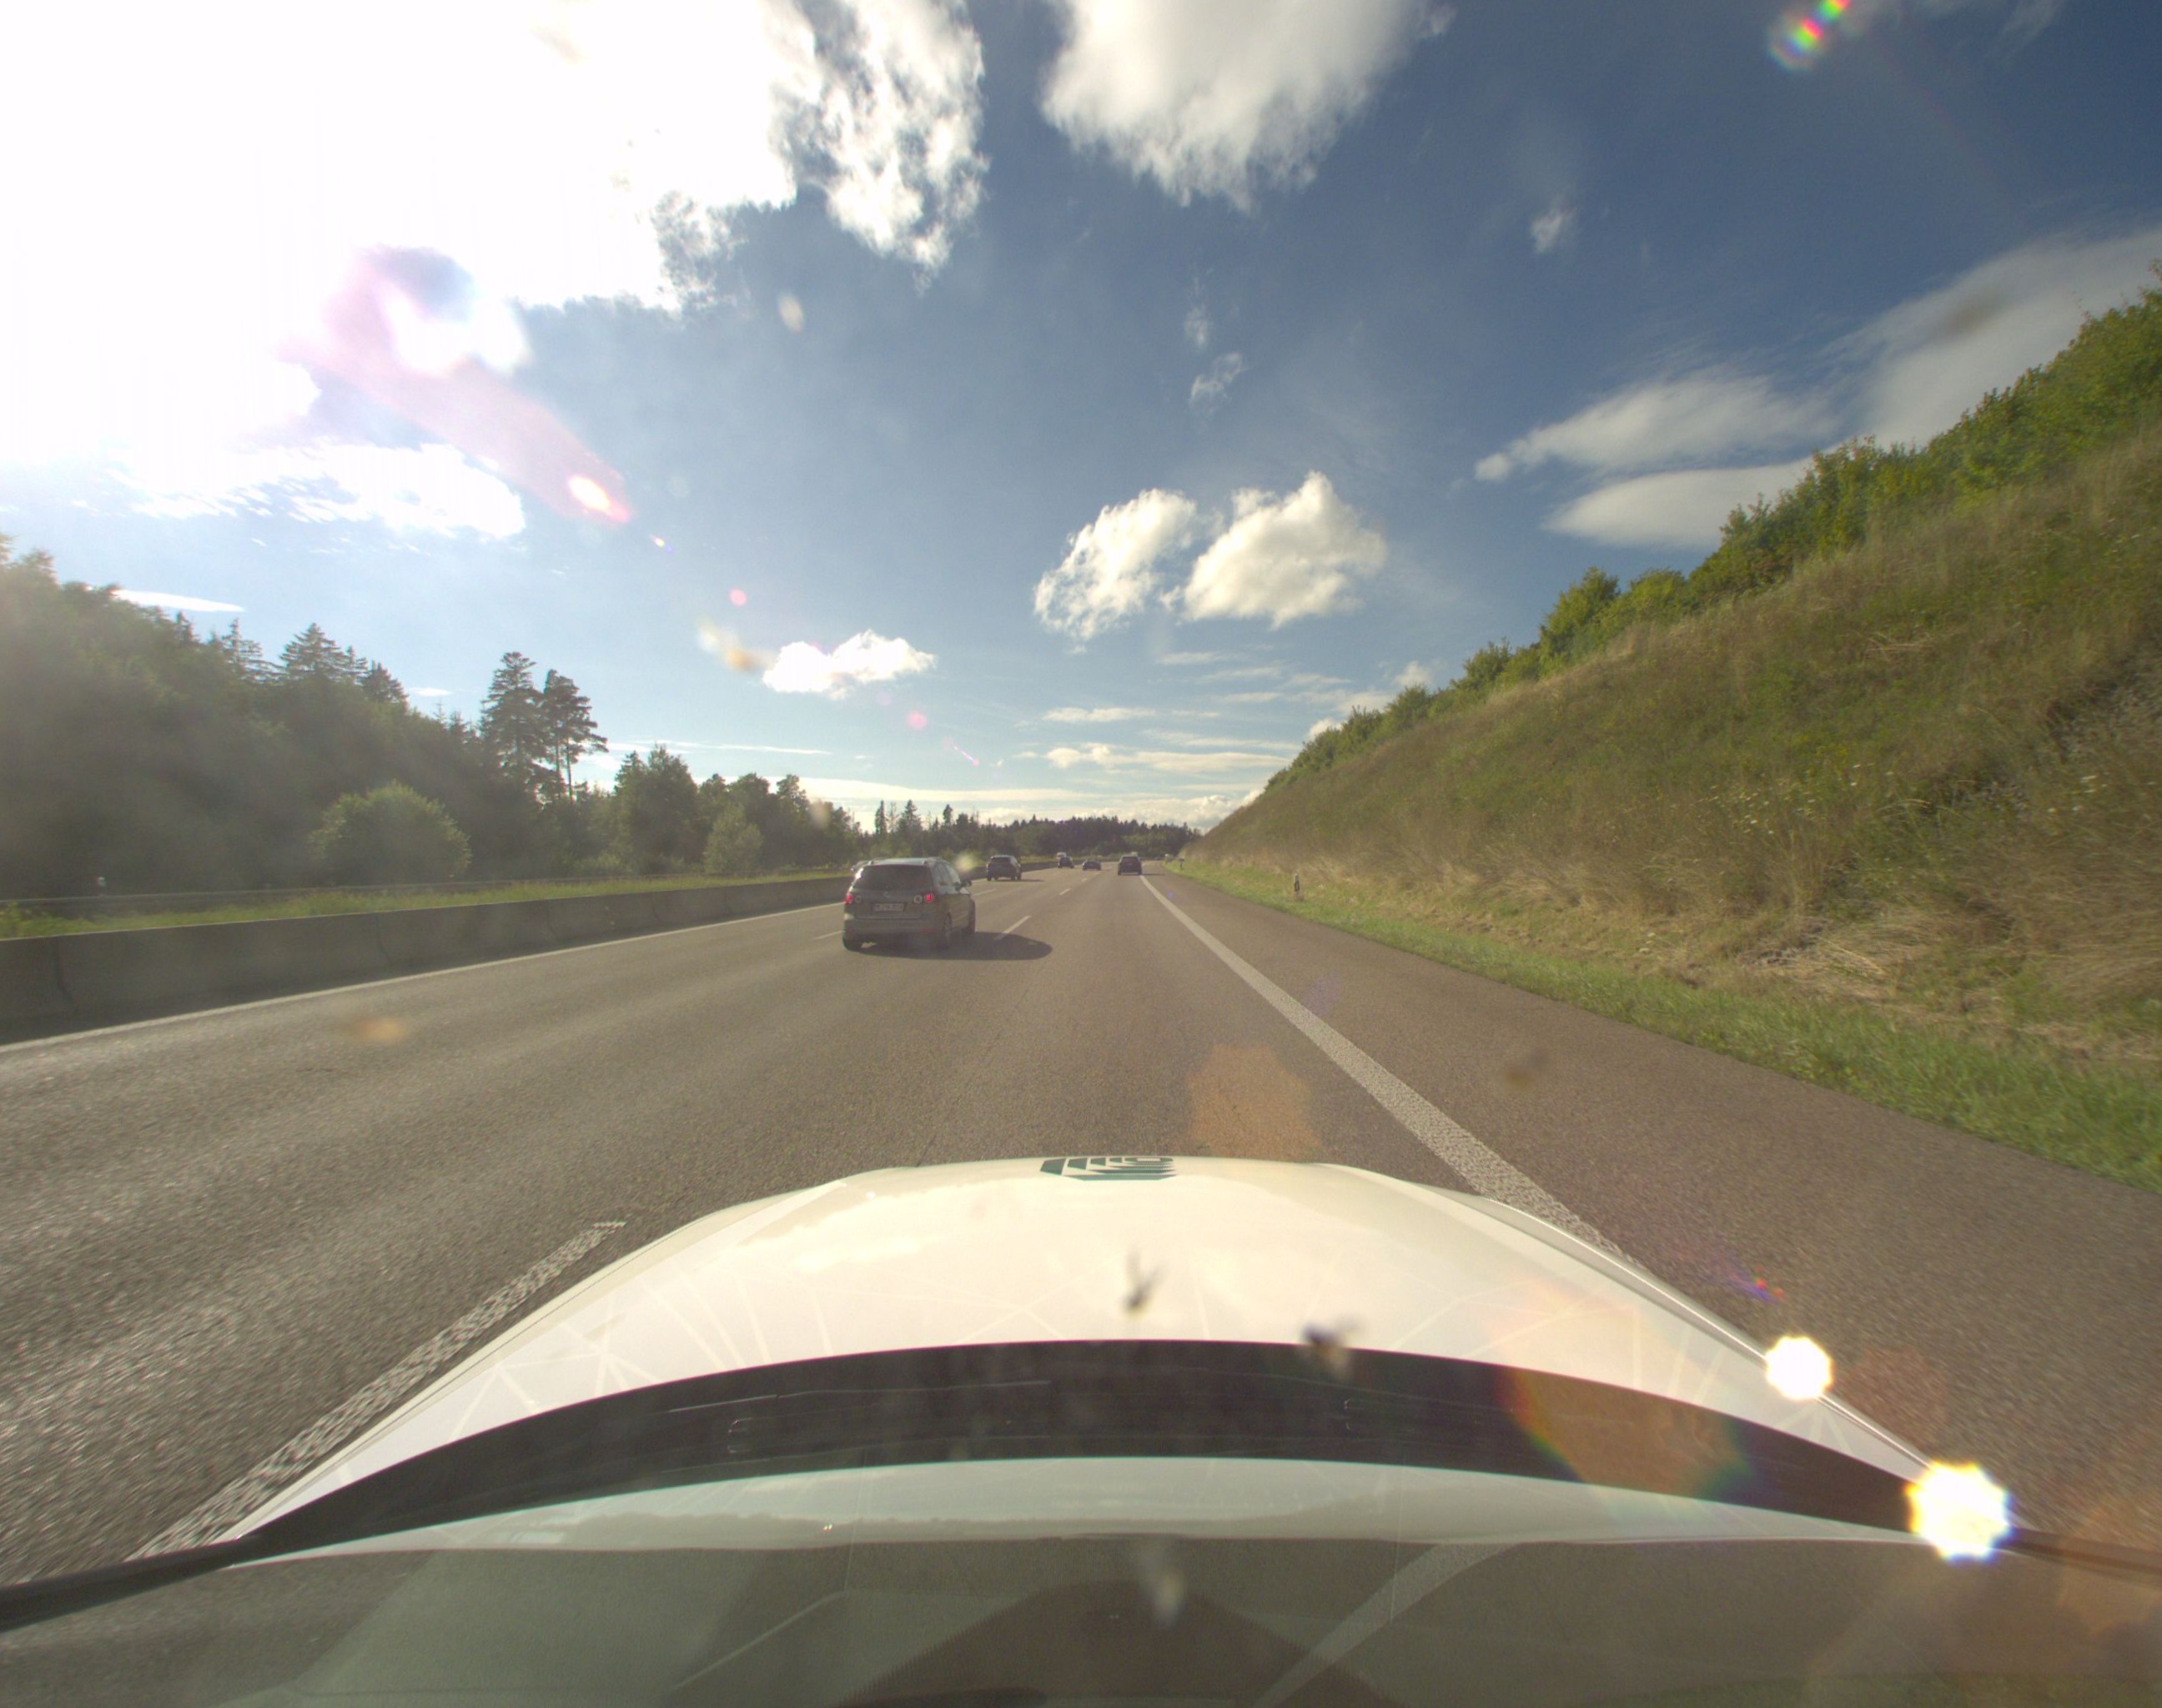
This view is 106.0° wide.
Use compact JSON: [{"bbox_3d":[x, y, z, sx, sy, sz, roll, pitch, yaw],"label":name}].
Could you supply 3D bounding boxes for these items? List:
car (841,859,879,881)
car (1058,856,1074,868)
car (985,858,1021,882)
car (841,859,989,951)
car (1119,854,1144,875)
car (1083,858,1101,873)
[{"bbox_3d":[-19.161,1.378,70.786,1.985,1.747,4.052,-1,0,3],"label":"car"},{"bbox_3d":[-1.921,0.975,103.560,1.866,1.497,3.881,-1,0,2],"label":"car"},{"bbox_3d":[-5.089,1.001,53.702,1.866,1.497,3.881,-1,0,2],"label":"car"},{"bbox_3d":[-2.981,0.857,15.448,1.866,1.497,3.881,-1,0,2],"label":"car"},{"bbox_3d":[4.031,0.819,65.571,1.866,1.675,3.892,-1,0,3],"label":"car"},{"bbox_3d":[1.234,1.241,88.258,1.866,1.497,3.881,-1,0,2],"label":"car"}]
